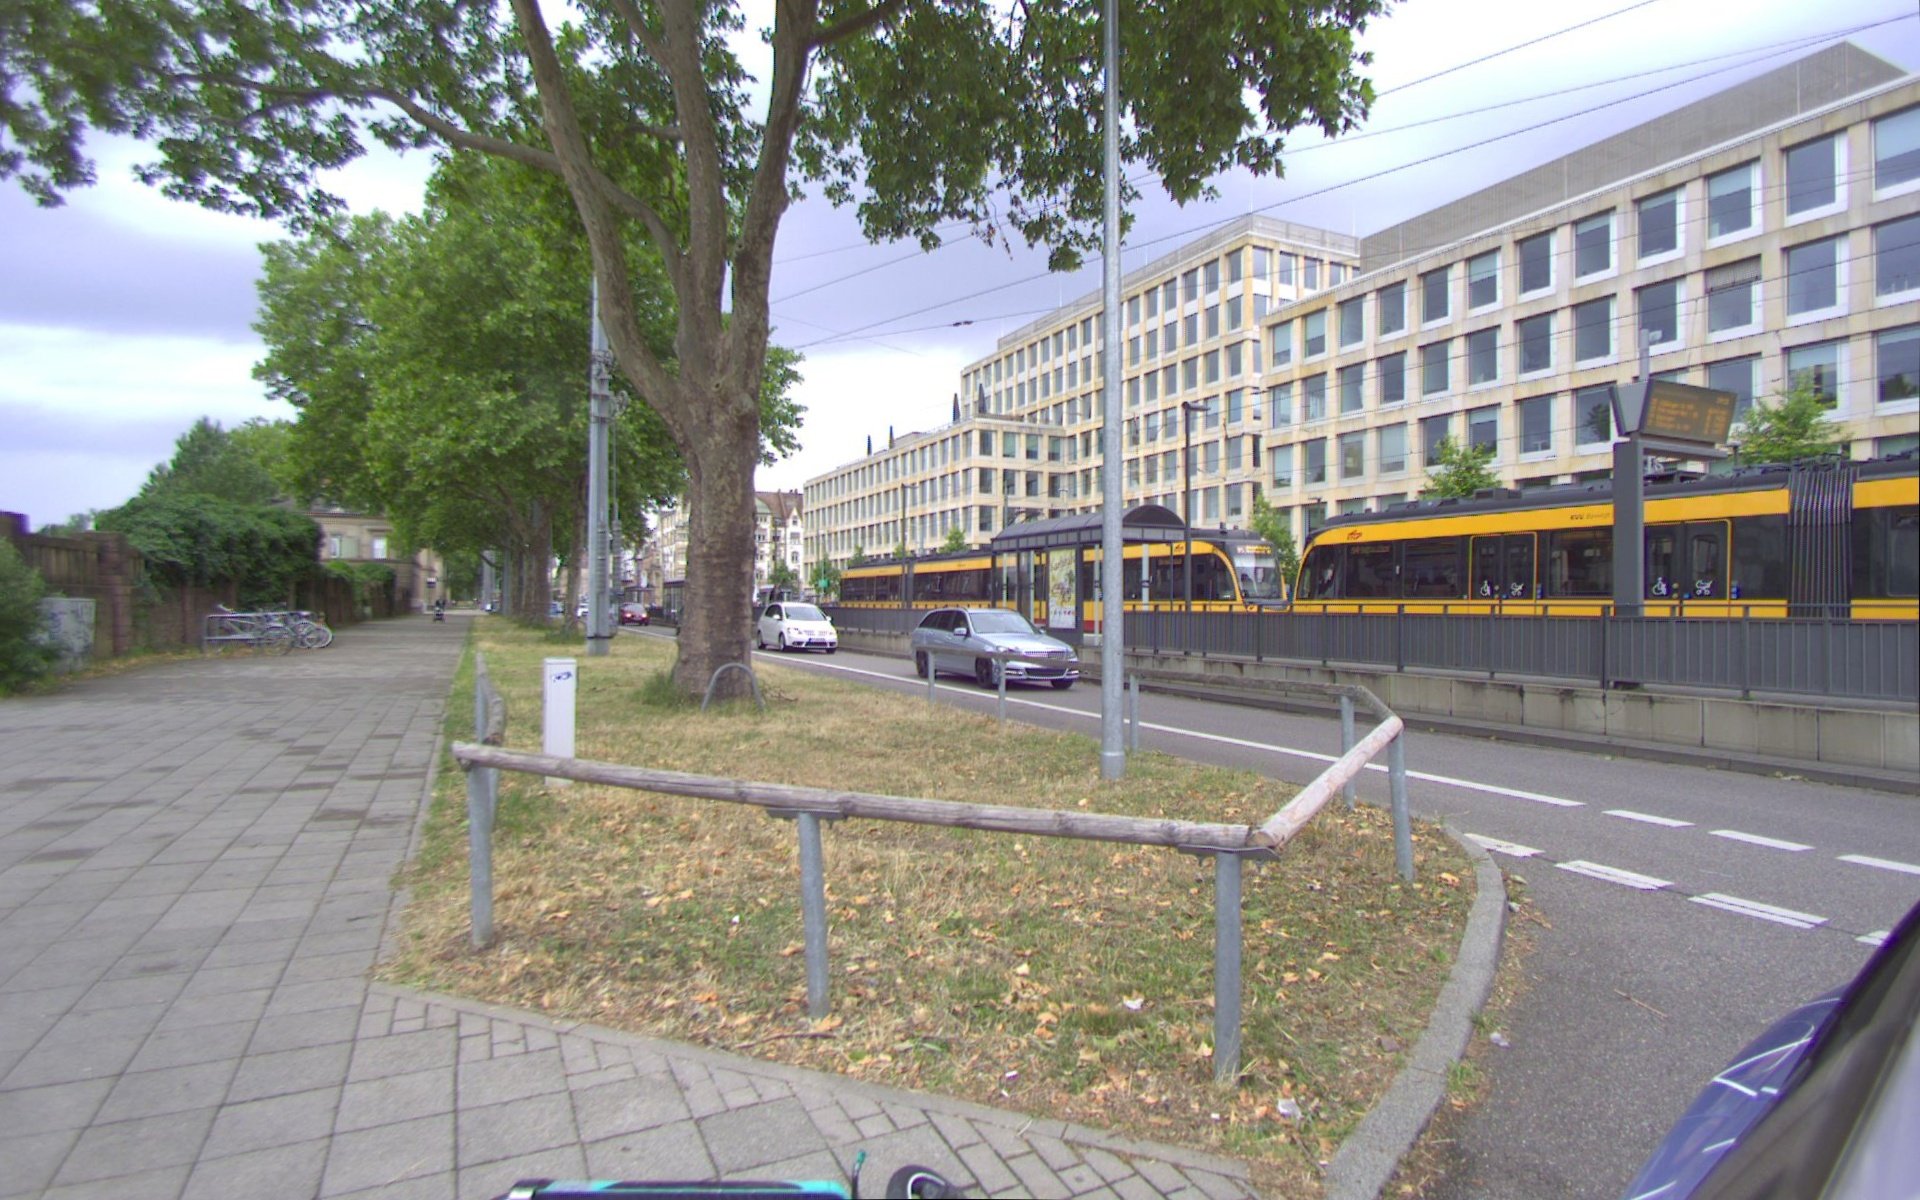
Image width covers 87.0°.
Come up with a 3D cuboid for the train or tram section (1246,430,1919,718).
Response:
[{"bbox_3d":[12.463,-0.433,21.960,3.125,4.231,14.758,1,0,-25],"label":"train or tram section"}]

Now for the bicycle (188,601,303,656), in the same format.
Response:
[{"bbox_3d":[-15.082,0.615,21.412,1.888,1.105,0.550,2,-1,-27],"label":"bicycle"}]

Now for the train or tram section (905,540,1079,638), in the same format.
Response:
[{"bbox_3d":[1.085,-0.492,46.137,3.108,3.910,11.330,1,0,-25],"label":"train or tram section"}]

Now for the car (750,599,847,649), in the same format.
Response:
[{"bbox_3d":[-5.204,0.708,32.152,1.959,1.470,4.107,0,0,-25],"label":"car"}]

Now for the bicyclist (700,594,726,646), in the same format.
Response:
[{"bbox_3d":[-7.485,0.586,30.638,0.630,1.550,0.665,1,0,-28],"label":"bicyclist"}]

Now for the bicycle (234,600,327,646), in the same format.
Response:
[{"bbox_3d":[-17.111,0.582,25.527,1.867,1.111,0.550,2,-1,-27],"label":"bicycle"}]

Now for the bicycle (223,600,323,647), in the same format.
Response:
[{"bbox_3d":[-16.889,0.584,24.924,1.940,1.108,0.550,2,-1,-27],"label":"bicycle"}]

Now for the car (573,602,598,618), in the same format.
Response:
[{"bbox_3d":[-36.580,0.957,98.777,1.959,1.470,4.107,0,0,-25],"label":"car"}]

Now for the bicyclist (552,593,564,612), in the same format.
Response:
[{"bbox_3d":[-34.084,0.216,85.776,0.796,1.620,1.191,1,0,-28],"label":"bicyclist"}]

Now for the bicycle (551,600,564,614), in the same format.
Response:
[{"bbox_3d":[-34.118,0.585,85.820,0.798,1.184,2.280,1,0,-27],"label":"bicycle"}]

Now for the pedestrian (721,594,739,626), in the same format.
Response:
[{"bbox_3d":[-13.177,0.563,57.936,0.659,1.816,1.113,1,0,-34],"label":"pedestrian"}]

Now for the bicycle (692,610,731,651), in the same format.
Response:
[{"bbox_3d":[-7.555,0.892,30.716,0.641,1.164,2.286,1,0,-27],"label":"bicycle"}]

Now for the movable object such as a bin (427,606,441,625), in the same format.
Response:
[{"bbox_3d":[-31.192,0.898,60.028,0.600,1.126,1.016,1,-1,-20],"label":"movable object such as a bin"}]

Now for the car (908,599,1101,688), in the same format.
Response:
[{"bbox_3d":[0.711,0.730,19.193,1.959,1.470,4.107,0,0,-25],"label":"car"}]

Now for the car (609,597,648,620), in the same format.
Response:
[{"bbox_3d":[-22.151,0.565,67.458,1.959,1.470,4.107,0,0,-25],"label":"car"}]

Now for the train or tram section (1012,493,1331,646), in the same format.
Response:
[{"bbox_3d":[6.423,-0.893,34.808,3.125,4.231,13.643,1,0,-25],"label":"train or tram section"}]

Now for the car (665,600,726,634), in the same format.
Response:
[{"bbox_3d":[-12.188,0.756,46.475,1.959,1.470,4.107,0,0,-25],"label":"car"}]

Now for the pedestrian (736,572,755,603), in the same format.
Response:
[{"bbox_3d":[-12.688,-0.745,59.786,0.660,1.816,1.112,1,0,-38],"label":"pedestrian"}]

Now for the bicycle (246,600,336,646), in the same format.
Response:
[{"bbox_3d":[-17.242,0.593,26.123,1.857,1.119,0.550,2,-1,-27],"label":"bicycle"}]

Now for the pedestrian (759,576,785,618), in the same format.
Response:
[{"bbox_3d":[-9.229,-0.126,49.715,1.040,2.039,0.841,1,0,-26],"label":"pedestrian"}]

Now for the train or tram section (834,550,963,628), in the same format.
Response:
[{"bbox_3d":[-3.730,-0.598,56.431,3.181,3.910,11.330,1,0,-25],"label":"train or tram section"}]
